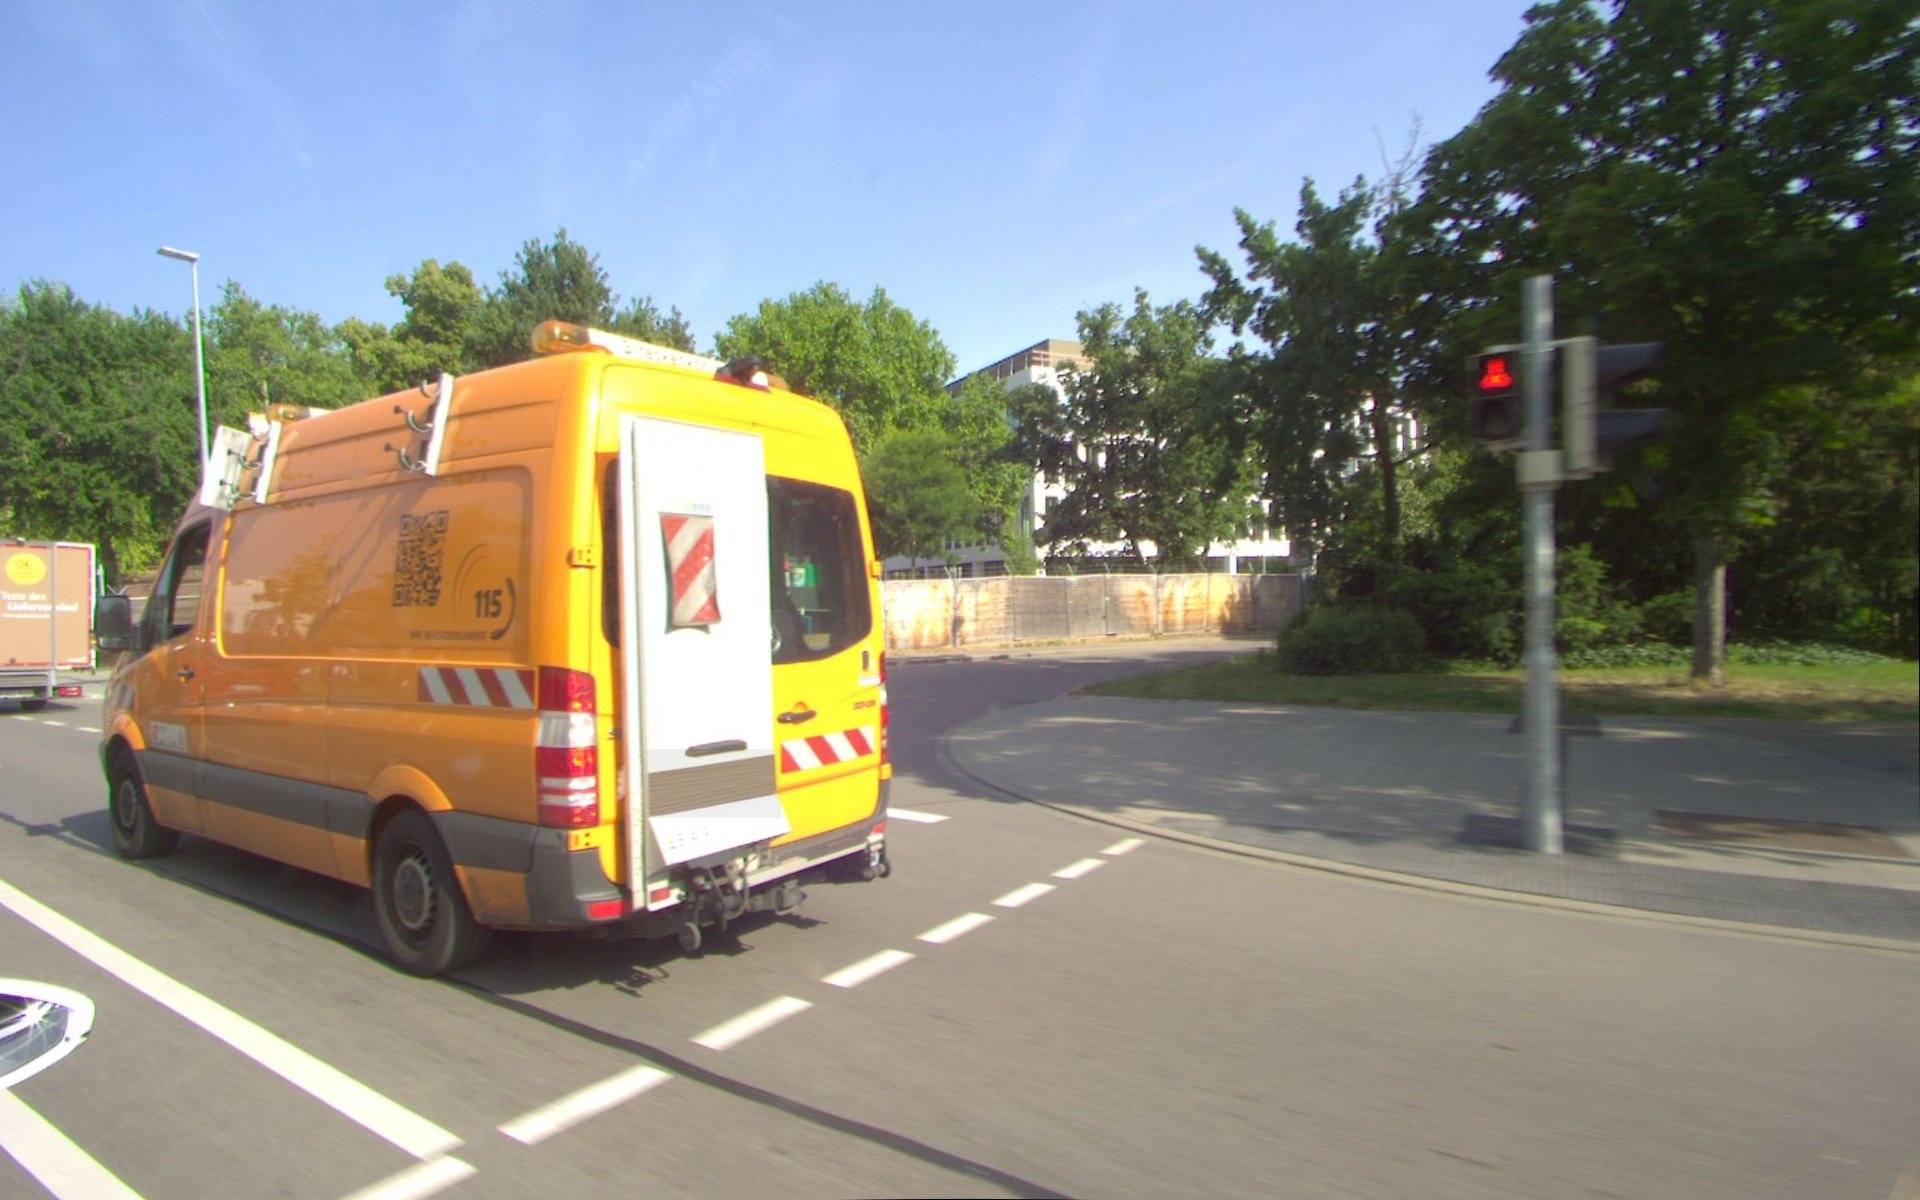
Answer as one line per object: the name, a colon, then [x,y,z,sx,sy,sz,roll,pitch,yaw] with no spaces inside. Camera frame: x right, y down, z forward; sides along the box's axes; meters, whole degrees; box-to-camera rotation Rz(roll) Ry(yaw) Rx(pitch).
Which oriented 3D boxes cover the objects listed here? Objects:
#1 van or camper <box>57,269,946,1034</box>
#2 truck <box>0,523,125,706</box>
van or camper: [-3.069,0.221,5.824,5.980,2.504,1.981,-1,-1,35]
truck: [-19.390,0.348,19.092,7.697,3.100,2.502,-1,-2,27]
